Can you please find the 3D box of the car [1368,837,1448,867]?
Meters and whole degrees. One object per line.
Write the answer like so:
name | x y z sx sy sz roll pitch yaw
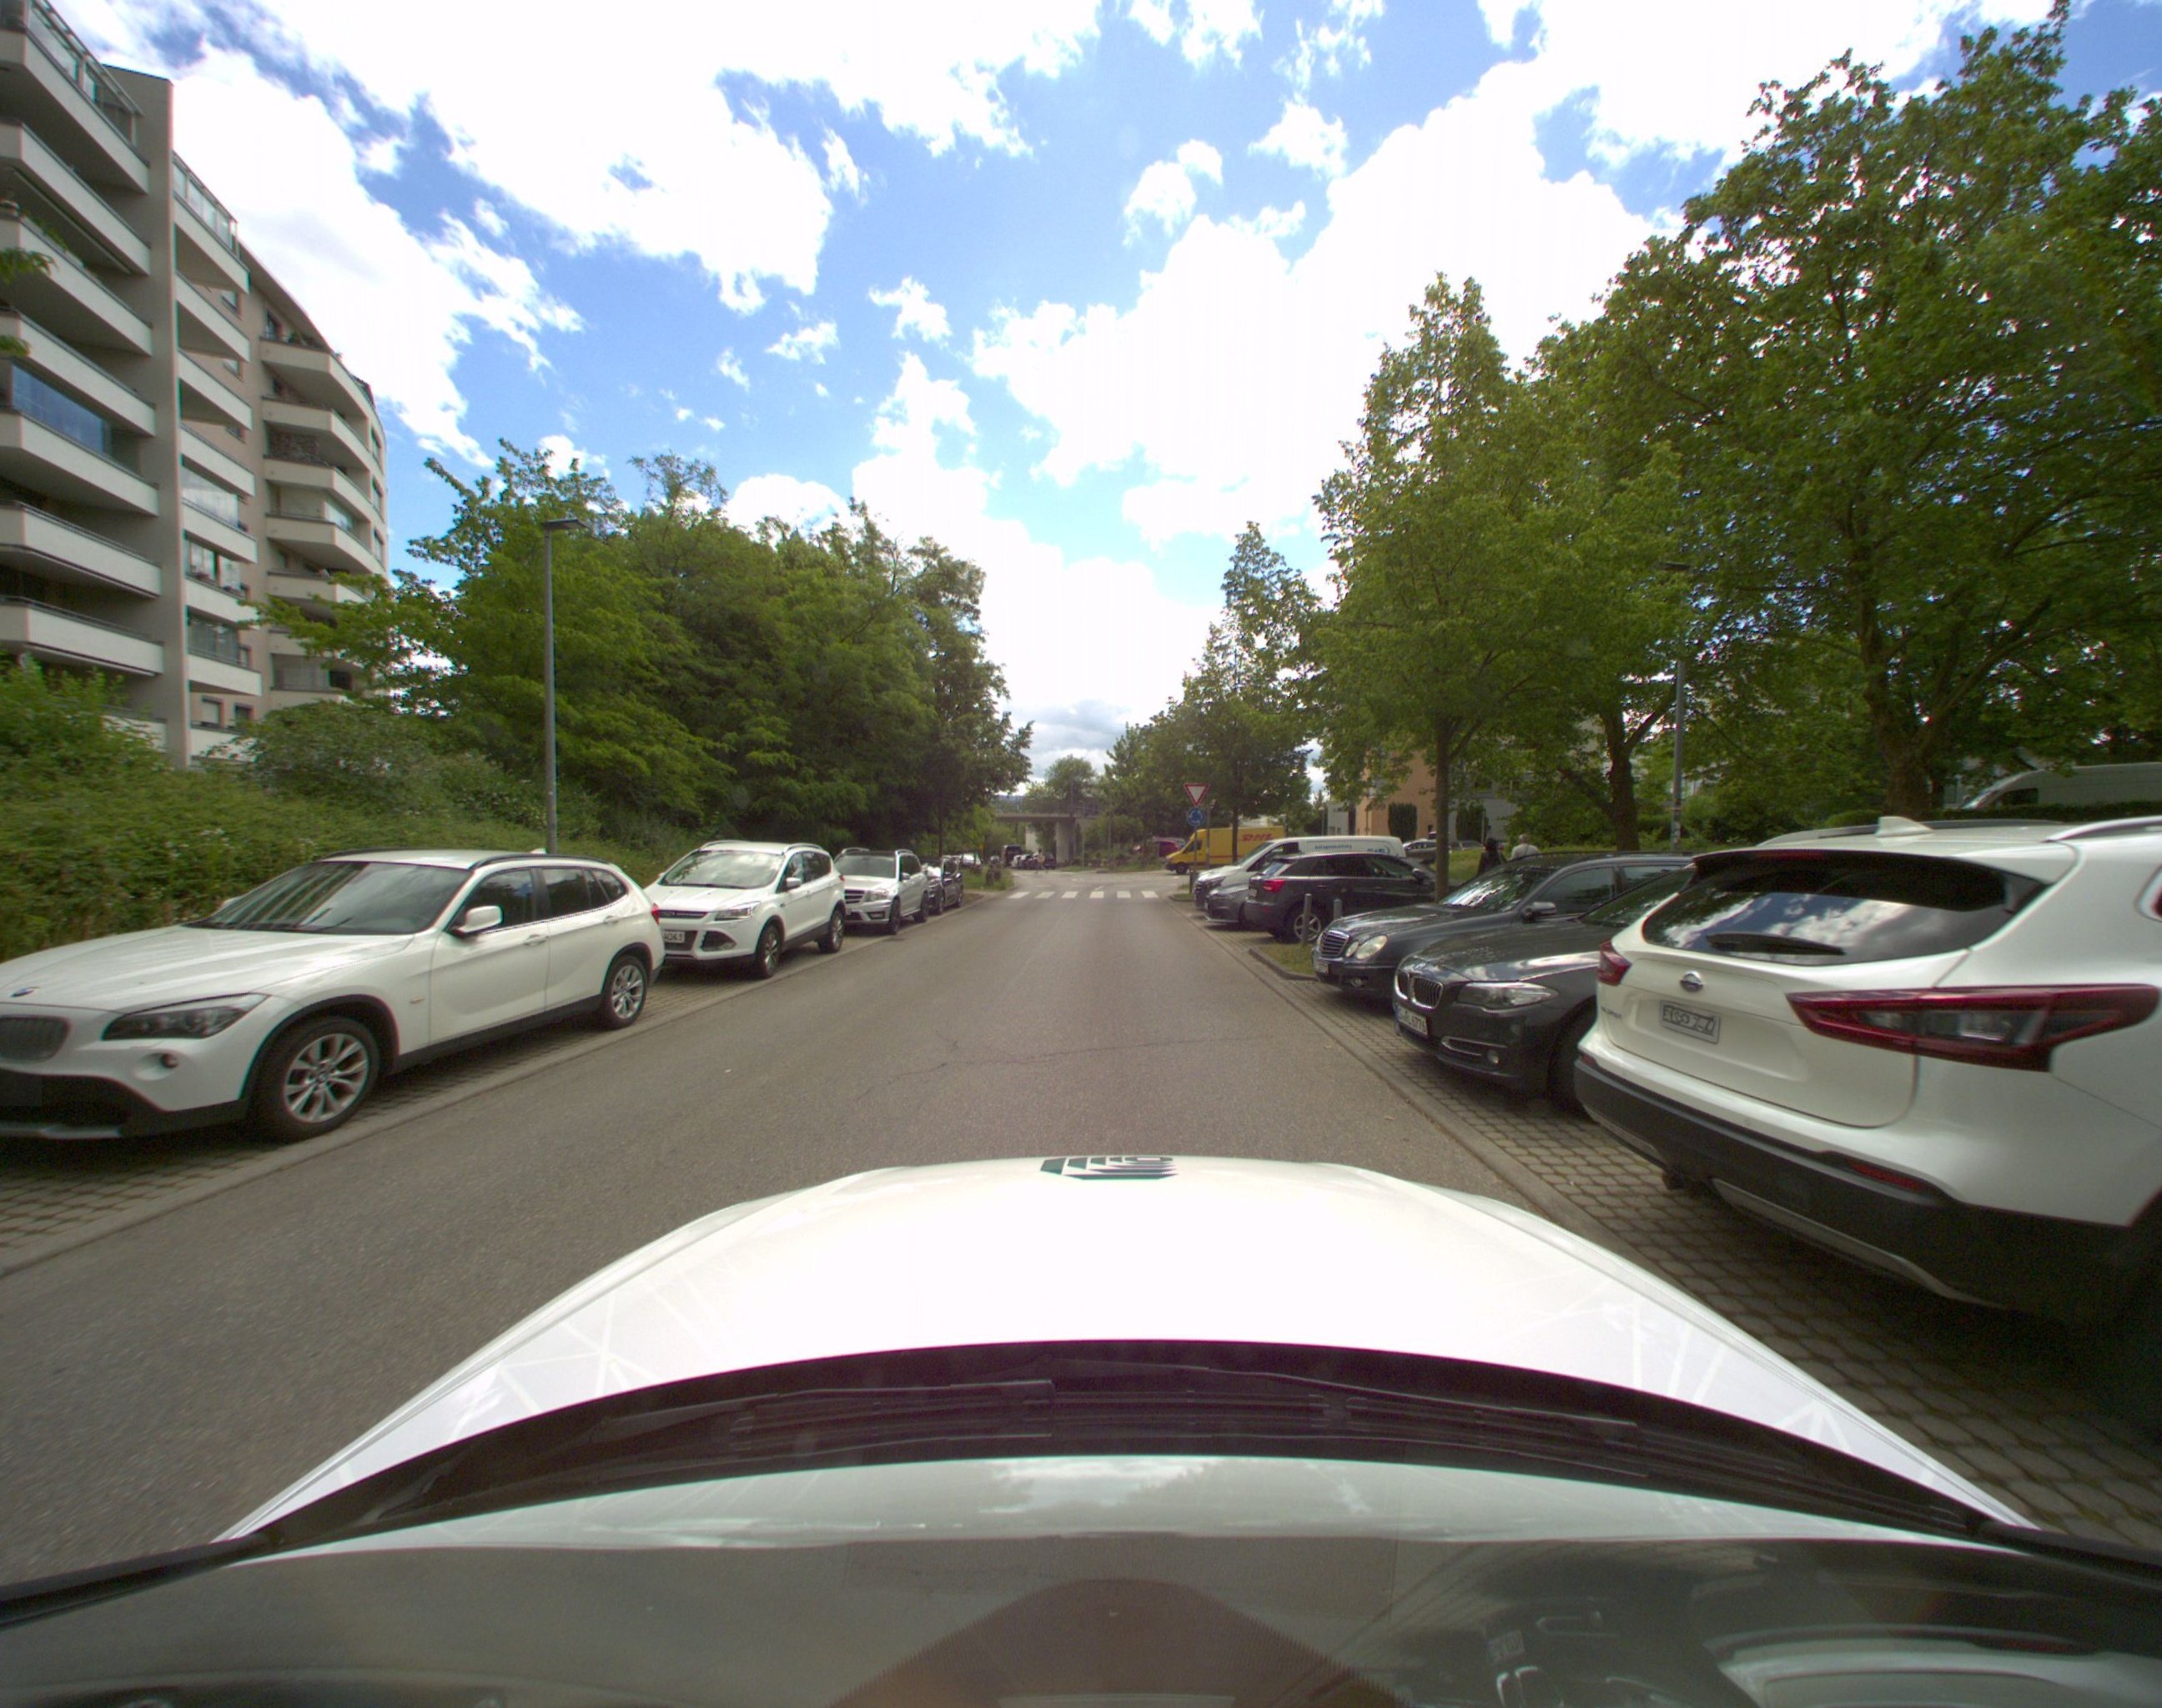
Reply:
car | 19.235 -0.097 47.982 3.988 1.618 1.720 -2 0 -4

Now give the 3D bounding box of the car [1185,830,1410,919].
car | 4.979 0.446 19.159 4.759 1.831 1.842 -2 0 -1

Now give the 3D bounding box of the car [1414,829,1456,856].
car | 22.852 -0.742 52.685 1.559 1.658 3.787 -2 0 9

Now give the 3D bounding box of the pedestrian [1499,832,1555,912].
pedestrian | 9.484 0.371 17.349 0.866 1.657 0.593 0 0 1

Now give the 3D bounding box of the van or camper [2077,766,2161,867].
van or camper | 31.680 -1.037 22.809 4.423 2.798 2.128 1 1 39

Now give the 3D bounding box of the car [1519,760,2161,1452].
car | 3.821 0.601 2.795 3.653 1.647 1.854 0 -1 4

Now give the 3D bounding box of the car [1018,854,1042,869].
car | -5.151 0.773 81.991 1.702 1.496 4.097 -1 0 -15

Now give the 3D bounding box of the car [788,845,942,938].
car | -4.341 0.663 17.169 1.792 1.615 4.481 3 1 3

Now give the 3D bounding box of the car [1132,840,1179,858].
car | 6.056 -0.437 66.045 3.629 1.439 1.688 0 1 7

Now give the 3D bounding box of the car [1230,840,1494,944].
car | 4.648 0.603 13.903 3.814 1.520 1.911 -2 0 -2

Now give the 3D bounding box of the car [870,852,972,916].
car | -4.277 0.750 22.504 1.683 1.465 4.459 3 1 3

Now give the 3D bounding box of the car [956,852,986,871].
car | -9.003 0.597 66.455 1.790 1.468 3.977 0 1 -17

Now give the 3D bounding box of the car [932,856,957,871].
car | -13.890 0.986 82.734 1.890 1.509 4.425 0 -1 -18

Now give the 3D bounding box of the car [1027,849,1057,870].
car | -3.625 0.530 75.615 1.817 1.679 4.345 -1 -3 -16

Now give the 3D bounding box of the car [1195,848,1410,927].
car | 4.367 0.638 16.494 3.814 1.371 1.842 -2 0 -2

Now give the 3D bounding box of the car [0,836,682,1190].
car | -4.846 0.688 5.802 1.683 1.511 4.233 3 1 3

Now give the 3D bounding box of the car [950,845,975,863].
car | -10.287 -0.033 70.621 1.887 1.460 3.530 0 1 -14

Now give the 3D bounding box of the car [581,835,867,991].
car | -4.627 0.637 11.430 1.800 1.664 4.440 3 1 3

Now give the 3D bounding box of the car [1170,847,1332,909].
car | 4.589 0.636 22.393 4.136 1.602 1.739 0 1 1

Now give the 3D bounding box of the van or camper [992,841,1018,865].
van or camper | -8.639 -0.037 92.619 1.997 2.523 5.443 -3 0 -14

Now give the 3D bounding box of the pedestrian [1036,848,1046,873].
pedestrian | -2.826 0.463 57.245 0.655 1.721 0.740 0 0 1

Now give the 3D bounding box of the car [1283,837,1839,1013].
car | 4.596 0.630 8.295 4.563 1.492 1.950 -1 0 -3

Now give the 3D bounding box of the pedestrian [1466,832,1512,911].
pedestrian | 8.724 0.365 17.429 0.686 1.657 0.600 0 0 1

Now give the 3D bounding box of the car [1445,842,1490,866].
car | 24.986 -0.037 52.770 1.627 1.482 3.787 0 1 9

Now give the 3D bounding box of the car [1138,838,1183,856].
car | 7.143 -0.637 73.567 3.968 1.613 1.947 0 1 5

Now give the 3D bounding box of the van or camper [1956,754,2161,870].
van or camper | 25.906 -1.023 20.833 4.422 2.798 2.128 1 1 34

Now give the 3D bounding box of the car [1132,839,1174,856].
car | 6.319 -0.561 71.283 3.629 1.498 1.688 0 1 7

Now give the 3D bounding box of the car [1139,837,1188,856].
car | 7.710 -0.700 76.182 4.521 1.668 1.947 0 1 5

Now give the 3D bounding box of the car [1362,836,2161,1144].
car | 4.030 0.674 5.199 3.964 1.519 1.888 0 0 9

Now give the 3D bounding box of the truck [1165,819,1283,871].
truck | 8.556 -0.474 49.225 6.766 2.703 2.478 -2 -4 6

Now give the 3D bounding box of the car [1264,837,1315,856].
car | 17.647 -0.629 69.025 4.095 1.593 1.697 0 1 8
